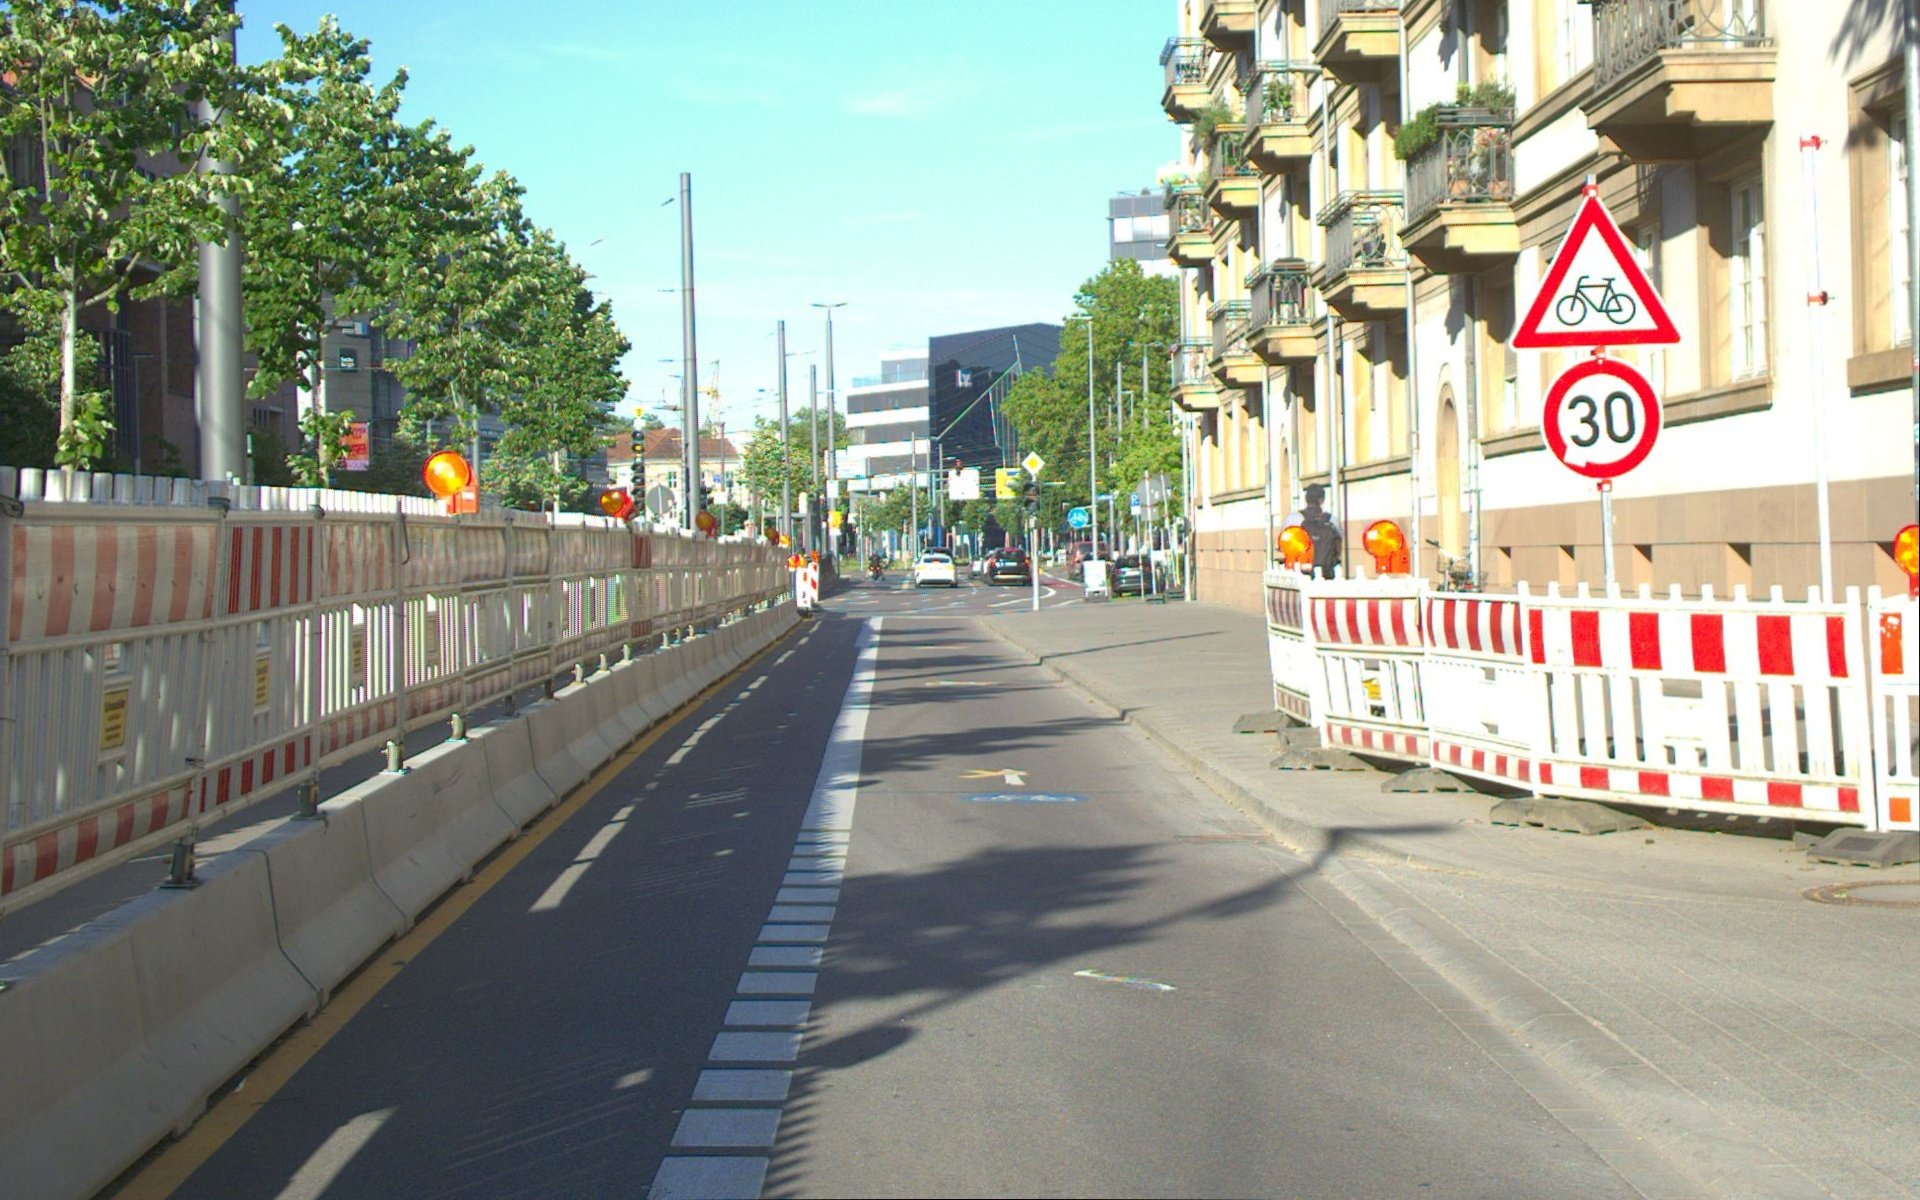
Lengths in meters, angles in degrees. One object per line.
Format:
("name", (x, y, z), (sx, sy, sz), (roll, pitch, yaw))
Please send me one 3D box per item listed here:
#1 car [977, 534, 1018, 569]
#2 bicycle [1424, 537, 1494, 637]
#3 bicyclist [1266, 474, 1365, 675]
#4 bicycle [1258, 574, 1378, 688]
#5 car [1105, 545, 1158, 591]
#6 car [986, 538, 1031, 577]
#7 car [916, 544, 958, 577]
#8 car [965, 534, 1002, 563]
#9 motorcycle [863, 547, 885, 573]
("car", (1.794, -2.315, 165.017), (1.851, 1.634, 4.379), (0, 0, -1))
("bicycle", (5.626, -0.155, 38.827), (0.418, 1.092, 2.198), (-1, 1, -1))
("bicyclist", (3.173, -0.232, 30.784), (0.733, 1.757, 0.938), (-1, 1, -1))
("bicycle", (3.181, 0.261, 30.739), (0.767, 0.950, 2.198), (-1, 1, -1))
("car", (6.424, -1.192, 128.204), (1.721, 1.631, 4.230), (-2, 1, 6))
("car", (2.215, -1.951, 157.413), (1.975, 1.753, 4.633), (1, 1, 0))
("car", (-1.027, -1.758, 150.940), (1.780, 1.409, 4.819), (1, 1, -1))
("car", (1.255, -2.726, 181.886), (1.851, 1.492, 4.379), (-1, 1, -1))
("motorcycle", (-4.437, -2.070, 177.290), (1.019, 1.307, 2.915), (1, 1, 0))
